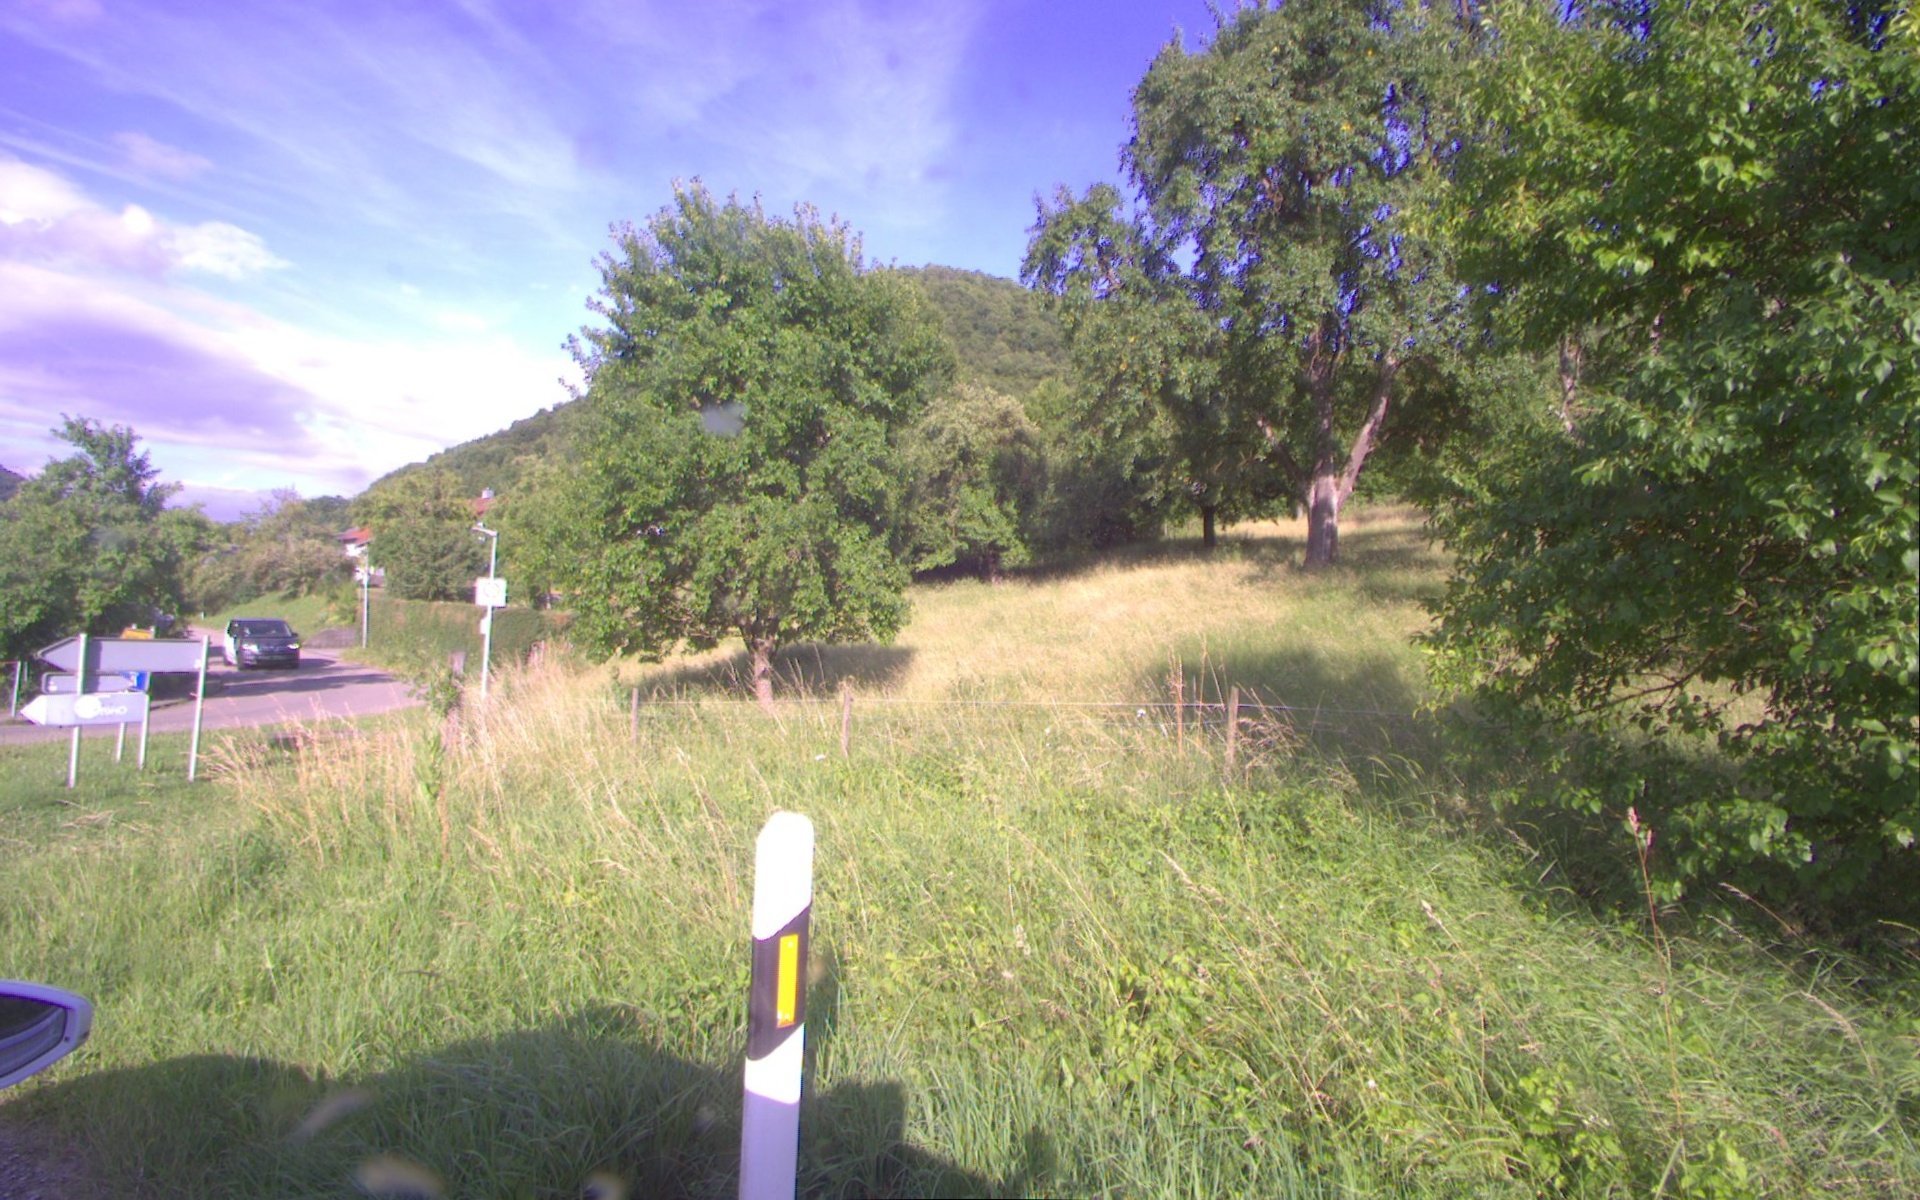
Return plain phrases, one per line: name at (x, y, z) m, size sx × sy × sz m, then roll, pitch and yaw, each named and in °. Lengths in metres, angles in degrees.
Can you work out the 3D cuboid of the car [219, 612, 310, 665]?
car at (-27.235, 1.489, 39.135) m, size 4.820 × 1.900 × 1.983 m, roll 0°, pitch -3°, yaw 44°
